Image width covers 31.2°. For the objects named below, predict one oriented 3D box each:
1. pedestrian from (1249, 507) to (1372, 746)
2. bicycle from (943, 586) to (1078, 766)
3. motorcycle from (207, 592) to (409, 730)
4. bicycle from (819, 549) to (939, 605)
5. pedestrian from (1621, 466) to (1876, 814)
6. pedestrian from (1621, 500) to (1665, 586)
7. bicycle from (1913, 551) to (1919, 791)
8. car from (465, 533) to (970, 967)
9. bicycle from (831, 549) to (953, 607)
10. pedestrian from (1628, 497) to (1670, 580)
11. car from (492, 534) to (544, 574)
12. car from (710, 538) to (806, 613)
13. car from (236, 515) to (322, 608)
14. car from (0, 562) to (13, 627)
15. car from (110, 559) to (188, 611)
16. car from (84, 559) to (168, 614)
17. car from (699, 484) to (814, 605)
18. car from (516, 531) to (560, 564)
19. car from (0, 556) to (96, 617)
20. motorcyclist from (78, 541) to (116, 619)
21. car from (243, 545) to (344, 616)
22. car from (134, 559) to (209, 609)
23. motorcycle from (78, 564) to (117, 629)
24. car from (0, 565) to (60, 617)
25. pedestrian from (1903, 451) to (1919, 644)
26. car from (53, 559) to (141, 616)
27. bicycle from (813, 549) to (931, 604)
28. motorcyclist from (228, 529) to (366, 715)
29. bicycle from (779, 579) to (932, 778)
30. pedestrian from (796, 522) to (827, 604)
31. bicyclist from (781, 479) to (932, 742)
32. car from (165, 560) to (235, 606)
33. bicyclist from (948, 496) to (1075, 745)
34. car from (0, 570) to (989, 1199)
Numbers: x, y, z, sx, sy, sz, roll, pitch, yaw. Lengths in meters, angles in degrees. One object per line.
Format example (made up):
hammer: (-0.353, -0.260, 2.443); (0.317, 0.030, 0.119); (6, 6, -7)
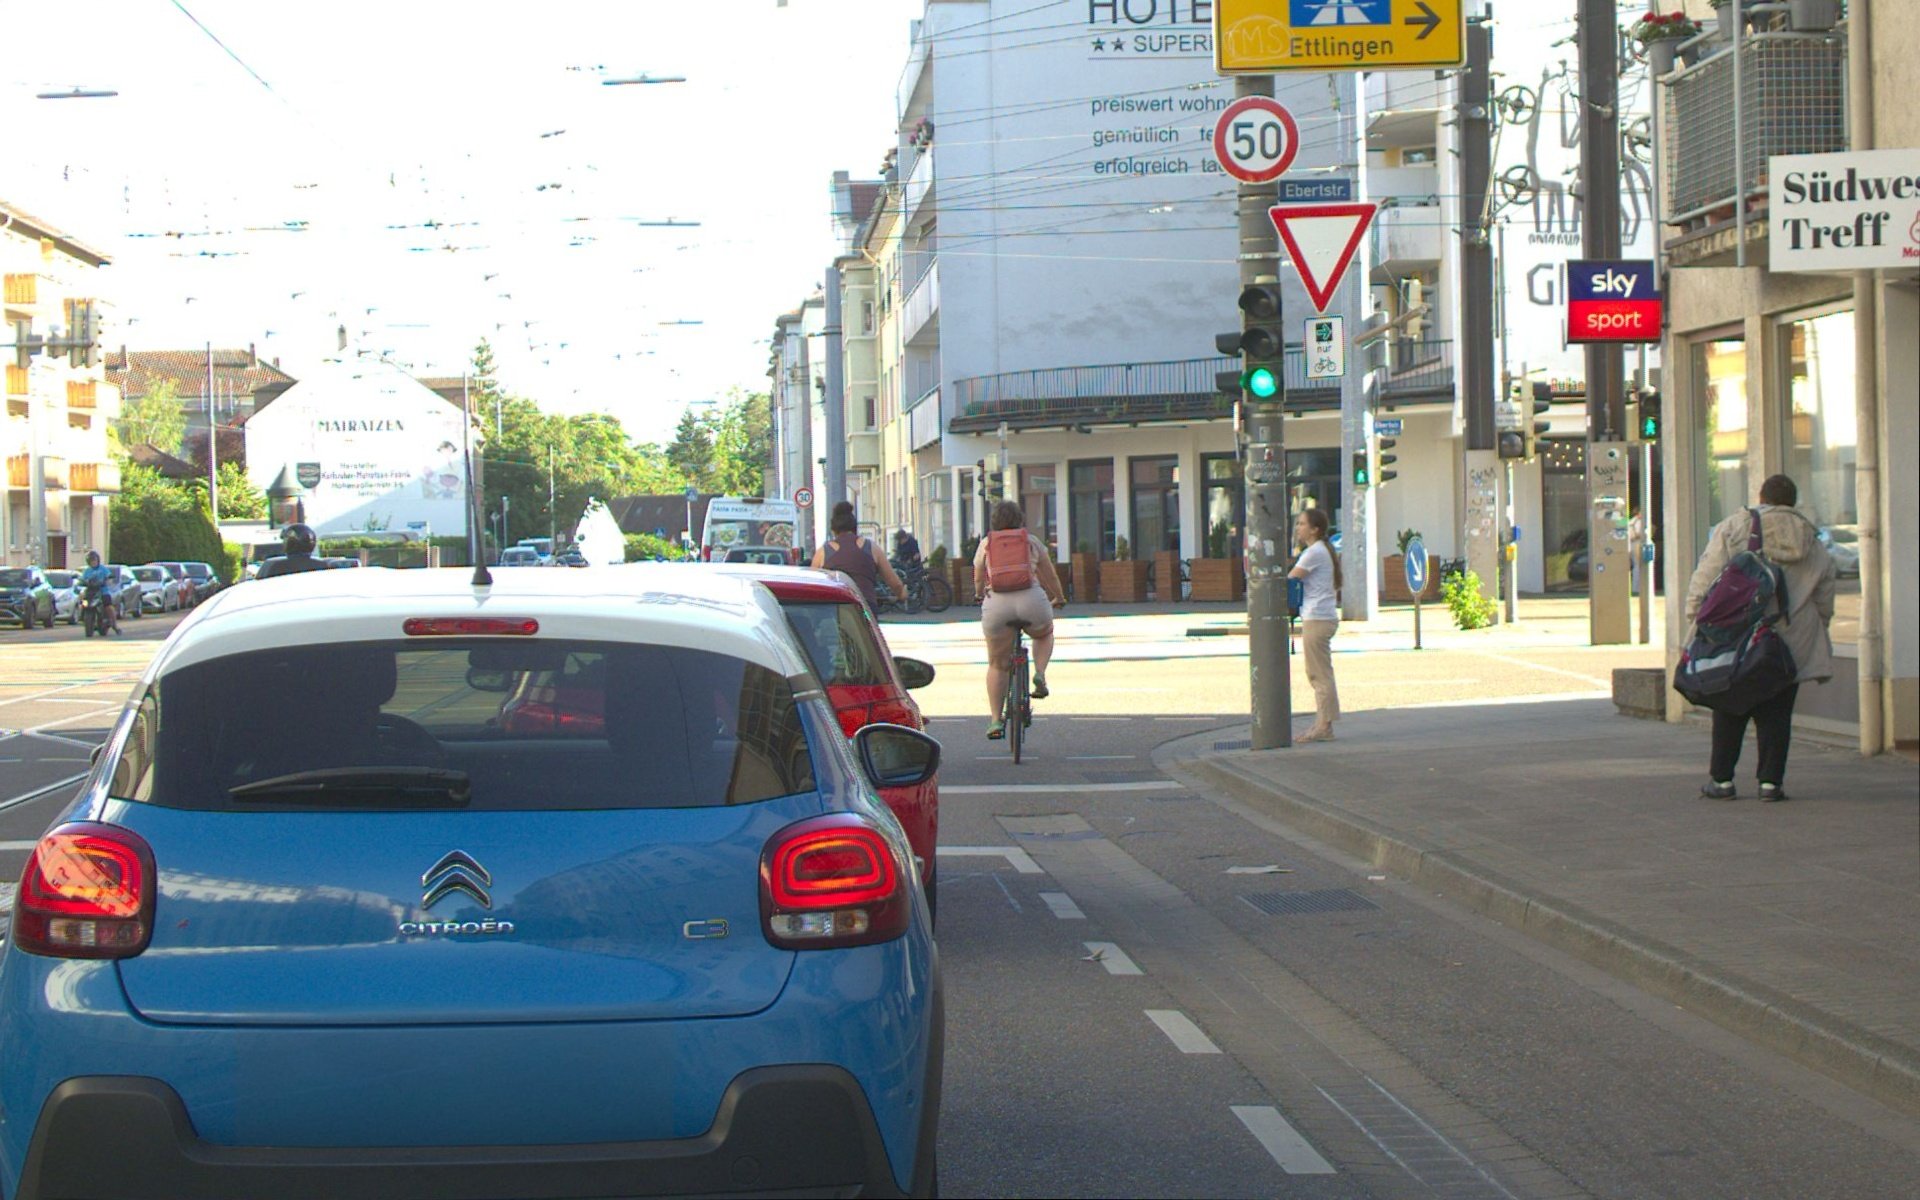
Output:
pedestrian: (2.462, 0.182, 24.124); (0.540, 1.618, 0.732); (-5, -1, 21)
bicycle: (0.369, 0.500, 23.979); (0.811, 1.177, 2.064); (1, 1, 4)
motorcycle: (-5.267, 0.475, 27.682); (0.855, 1.043, 1.942); (0, 1, -35)
bicycle: (-1.597, -0.456, 67.187); (2.251, 0.998, 0.856); (-3, 1, -5)
pedestrian: (3.791, 0.175, 16.584); (0.884, 1.586, 0.811); (-4, 2, -8)
pedestrian: (12.767, -1.059, 64.250); (0.610, 1.603, 0.668); (1, 0, 27)
bicycle: (4.921, 0.344, 15.775); (0.496, 1.157, 1.777); (-1, 0, -3)
car: (-1.037, 0.509, 14.192); (1.784, 1.516, 3.763); (1, 1, -5)
bicycle: (-1.306, -0.429, 65.820); (2.251, 0.998, 0.856); (-3, 1, -5)
pedestrian: (13.458, -1.201, 67.123); (0.611, 1.603, 0.668); (1, 0, 30)
car: (-21.818, -2.253, 169.973); (2.218, 1.925, 4.950); (1, 1, -4)
car: (-4.008, -0.488, 67.803); (1.657, 1.426, 3.889); (1, 1, -7)
car: (-23.562, -1.326, 119.084); (2.417, 3.131, 3.489); (1, 0, -3)
car: (-23.178, -0.125, 79.288); (1.741, 1.521, 4.230); (1, 1, -4)
car: (-25.442, -0.478, 107.923); (1.869, 1.571, 4.001); (1, 1, -6)
car: (-24.878, -0.417, 102.639); (1.869, 1.571, 4.001); (1, 1, -6)
car: (-4.348, -1.166, 72.831); (2.265, 2.473, 5.009); (0, 1, -5)
car: (-23.058, -2.841, 187.842); (2.074, 1.756, 5.037); (1, 1, -4)
car: (-24.396, -0.383, 92.085); (1.869, 1.571, 4.001); (1, 1, -6)
motorcyclist: (-16.757, -0.386, 66.776); (0.693, 1.491, 0.684); (-1, -1, -14)
car: (-14.807, -0.442, 76.525); (1.778, 1.481, 3.829); (-2, 1, -5)
car: (-25.829, -0.532, 112.710); (1.869, 1.571, 4.001); (1, 1, -6)
motorcycle: (-16.799, -0.065, 66.957); (0.711, 1.216, 1.966); (-1, -1, -14)
car: (-23.943, -0.245, 86.181); (1.946, 1.235, 4.283); (1, 1, -5)
pedestrian: (5.762, -0.304, 19.230); (0.623, 1.084, 0.679); (-3, 2, -37)
car: (-24.610, -0.368, 98.146); (1.869, 1.571, 4.001); (1, 1, -6)
bicycle: (-1.754, -0.465, 68.302); (2.251, 0.998, 0.856); (-3, 1, -5)
motorcyclist: (-5.368, 0.171, 27.812); (0.855, 1.483, 0.729); (0, 1, -35)
bicycle: (-0.683, 0.486, 22.496); (0.940, 1.219, 2.095); (1, 1, -2)
pedestrian: (-3.010, -0.754, 69.658); (0.613, 1.648, 0.671); (1, 0, -2)
bicyclist: (-0.675, 0.062, 22.429); (0.940, 1.667, 1.079); (1, 0, -2)
car: (-26.282, -0.602, 118.980); (1.869, 1.571, 4.001); (1, 1, -6)
bicyclist: (0.365, 0.132, 23.903); (0.811, 1.686, 0.935); (1, 0, 4)
car: (-1.076, 0.669, 7.381); (1.736, 1.447, 3.663); (0, 1, -8)
